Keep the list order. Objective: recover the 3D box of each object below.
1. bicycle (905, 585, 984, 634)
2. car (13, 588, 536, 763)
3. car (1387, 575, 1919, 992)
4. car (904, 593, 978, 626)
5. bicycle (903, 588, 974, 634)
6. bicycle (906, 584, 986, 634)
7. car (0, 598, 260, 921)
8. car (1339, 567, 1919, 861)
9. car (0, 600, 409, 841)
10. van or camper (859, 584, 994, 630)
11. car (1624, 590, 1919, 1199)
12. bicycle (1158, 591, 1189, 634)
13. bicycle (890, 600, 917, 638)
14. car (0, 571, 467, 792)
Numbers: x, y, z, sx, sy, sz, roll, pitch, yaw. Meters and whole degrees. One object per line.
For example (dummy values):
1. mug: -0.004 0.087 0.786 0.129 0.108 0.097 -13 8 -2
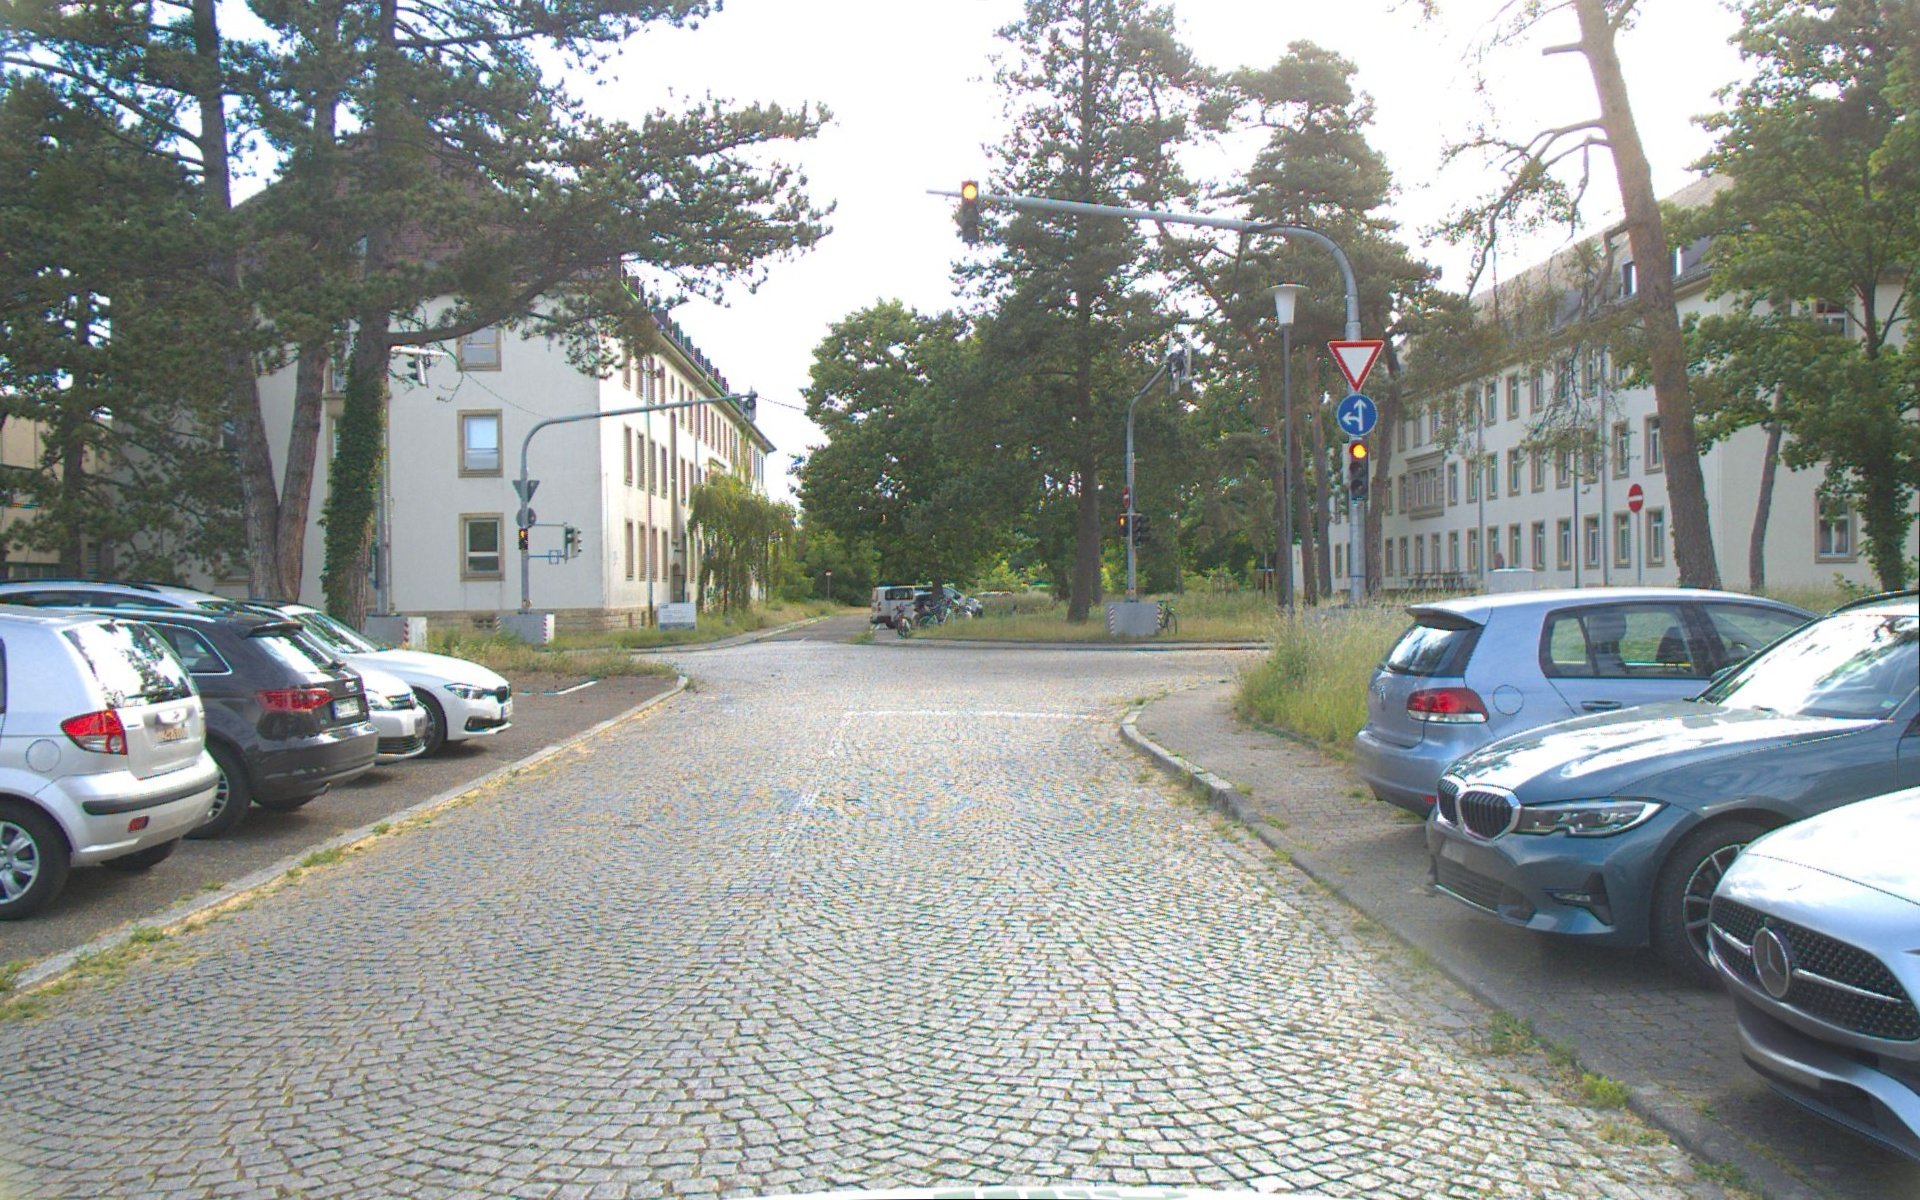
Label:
1. bicycle: -0.562 0.343 59.900 2.724 1.723 1.118 -1 0 -9
2. car: -6.658 0.724 16.497 4.391 1.467 1.828 3 0 -6
3. car: 4.320 0.646 7.192 4.424 1.509 1.806 -1 0 -5
4. car: -0.840 0.423 73.093 3.078 1.378 1.617 -1 0 -8
5. bicycle: -0.844 0.419 64.795 2.719 1.724 1.120 1 0 -1
6. bicycle: -0.502 0.318 58.708 2.723 1.723 1.118 -1 0 -8
7. car: -5.755 0.730 8.582 3.506 1.501 1.646 2 0 -5
8. car: 4.343 0.597 9.802 3.765 1.496 1.641 -2 0 -3
9. car: -5.907 0.748 11.195 3.759 1.433 1.695 2 0 -3
10. van or camper: -1.565 0.305 76.647 5.933 1.983 1.992 -1 0 -16
11. car: 4.296 0.660 4.516 4.239 1.453 1.766 -2 0 -3
12. bicycle: 6.070 0.345 47.129 0.708 1.189 2.738 1 0 5
13. bicycle: -1.838 0.612 54.381 0.711 1.127 2.462 -5 0 0
14. car: -6.353 0.651 14.107 3.756 1.635 1.734 2 0 -5
